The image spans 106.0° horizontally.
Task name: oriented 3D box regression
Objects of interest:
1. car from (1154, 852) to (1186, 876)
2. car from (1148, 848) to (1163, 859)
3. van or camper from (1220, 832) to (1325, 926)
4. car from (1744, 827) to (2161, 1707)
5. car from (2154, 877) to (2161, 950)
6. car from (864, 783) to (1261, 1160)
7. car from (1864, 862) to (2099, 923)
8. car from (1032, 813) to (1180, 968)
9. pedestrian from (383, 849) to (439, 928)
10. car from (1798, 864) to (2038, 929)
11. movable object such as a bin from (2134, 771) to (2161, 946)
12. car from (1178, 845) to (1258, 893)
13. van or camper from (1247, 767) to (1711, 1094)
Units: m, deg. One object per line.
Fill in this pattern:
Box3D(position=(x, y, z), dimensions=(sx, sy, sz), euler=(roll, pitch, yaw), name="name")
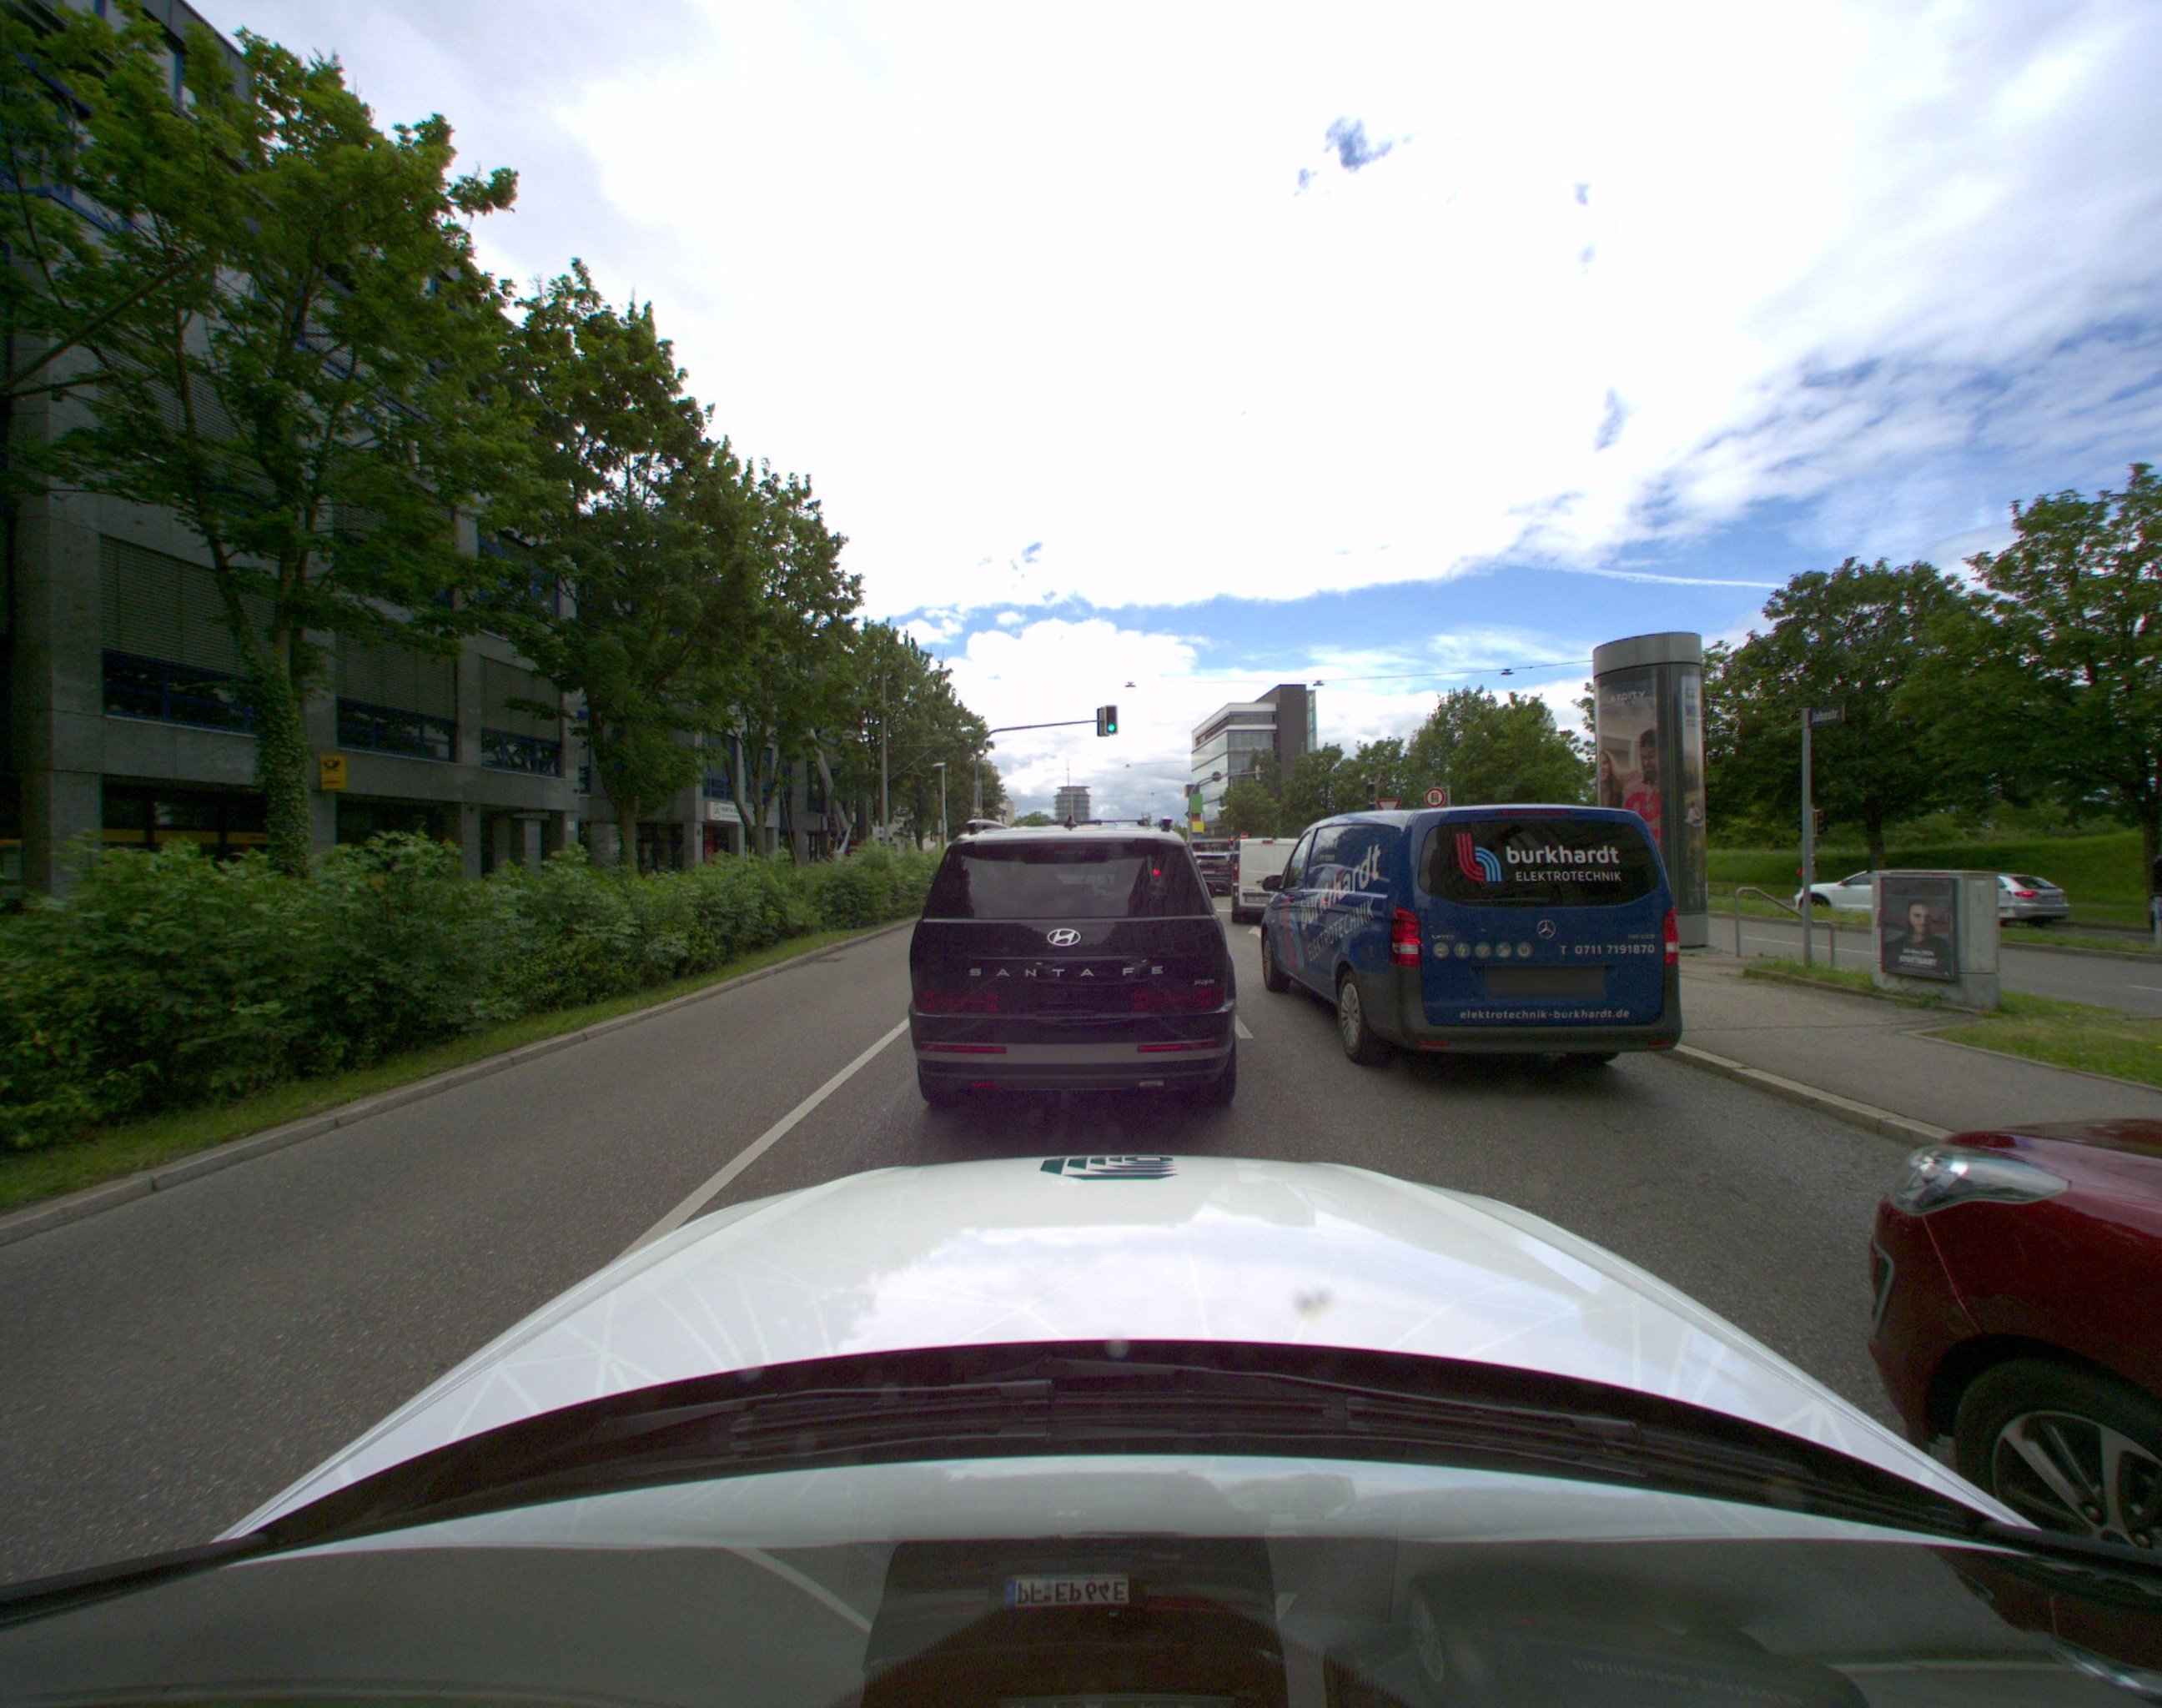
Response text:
Box3D(position=(6.391, 0.727, 58.735), dimensions=(1.986, 1.618, 4.001), euler=(-1, -1, 2), name="car")
Box3D(position=(11.925, -0.014, 130.564), dimensions=(1.987, 1.684, 3.998), euler=(-1, -1, -1), name="car")
Box3D(position=(4.505, 0.539, 19.819), dimensions=(1.983, 2.013, 4.662), euler=(-1, 0, 7), name="van or camper")
Box3D(position=(2.688, 0.723, 0.198), dimensions=(1.878, 1.492, 4.002), euler=(1, 0, 2), name="car")
Box3D(position=(22.978, 1.236, 14.651), dimensions=(1.994, 1.453, 3.985), euler=(1, 0, -11), name="car")
Box3D(position=(-0.028, 0.566, 5.842), dimensions=(1.862, 1.760, 3.881), euler=(-1, 0, 2), name="car")
Box3D(position=(25.071, 1.020, 22.901), dimensions=(1.994, 1.453, 3.985), euler=(1, 0, -11), name="car")
Box3D(position=(0.390, 0.485, 12.683), dimensions=(1.908, 2.003, 3.881), euler=(-1, 0, 2), name="car")
Box3D(position=(-16.443, 0.829, 20.005), dimensions=(0.771, 1.894, 0.731), euler=(-1, -1, 1), name="pedestrian")
Box3D(position=(21.738, 1.037, 21.402), dimensions=(1.994, 1.453, 3.985), euler=(1, 0, -11), name="car")
Box3D(position=(26.234, 0.028, 14.634), dimensions=(2.860, 3.903, 8.536), euler=(0, -1, -11), name="movable object such as a bin")
Box3D(position=(5.402, 0.574, 31.571), dimensions=(1.759, 1.717, 4.364), euler=(-1, -1, 28), name="car")
Box3D(position=(2.881, 0.461, 7.375), dimensions=(1.853, 1.911, 5.034), euler=(-1, 0, 2), name="van or camper")
